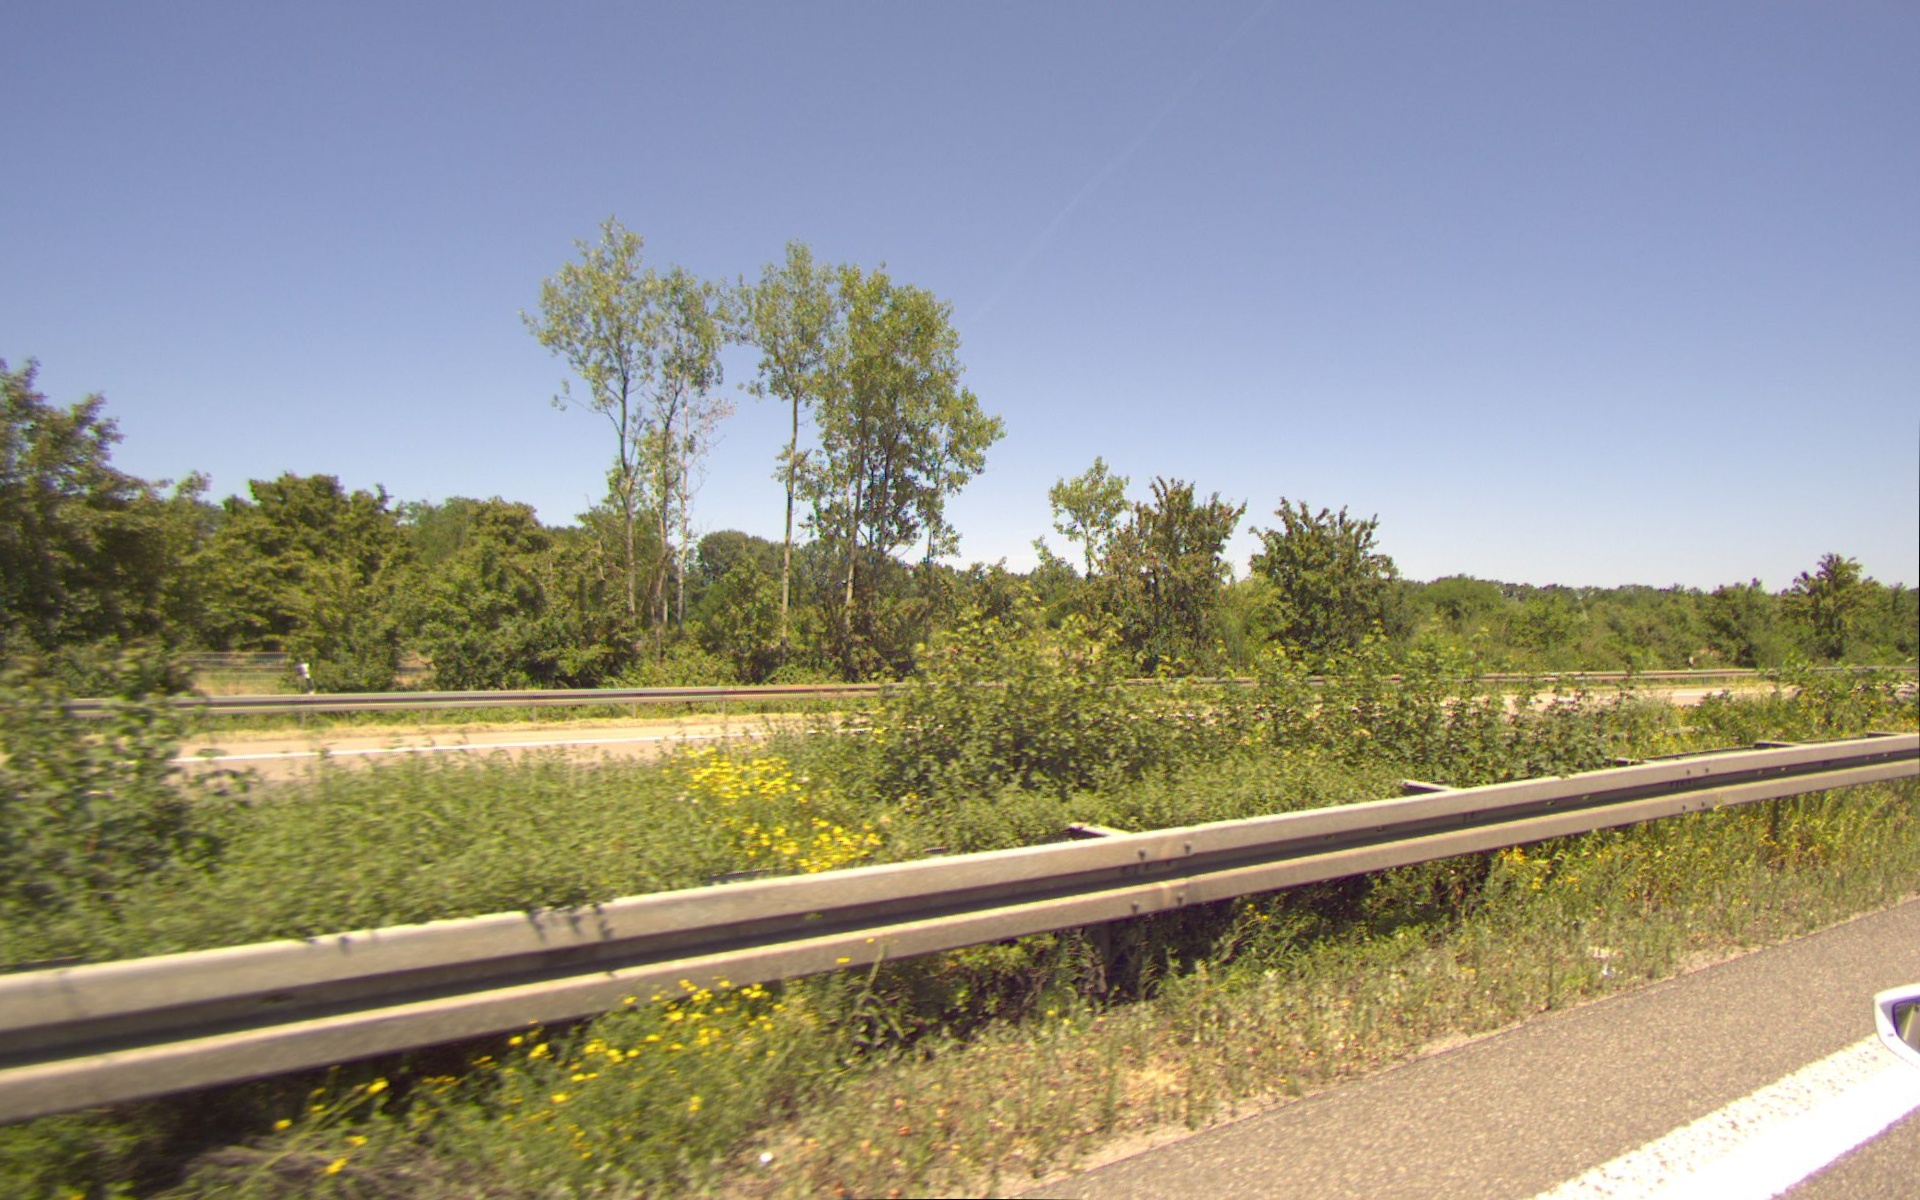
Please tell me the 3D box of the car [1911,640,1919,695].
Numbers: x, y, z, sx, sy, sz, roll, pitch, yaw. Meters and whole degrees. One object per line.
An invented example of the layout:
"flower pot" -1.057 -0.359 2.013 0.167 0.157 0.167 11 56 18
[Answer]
"car" 36.347 2.386 35.932 5.167 1.949 2.031 2 -4 -31
